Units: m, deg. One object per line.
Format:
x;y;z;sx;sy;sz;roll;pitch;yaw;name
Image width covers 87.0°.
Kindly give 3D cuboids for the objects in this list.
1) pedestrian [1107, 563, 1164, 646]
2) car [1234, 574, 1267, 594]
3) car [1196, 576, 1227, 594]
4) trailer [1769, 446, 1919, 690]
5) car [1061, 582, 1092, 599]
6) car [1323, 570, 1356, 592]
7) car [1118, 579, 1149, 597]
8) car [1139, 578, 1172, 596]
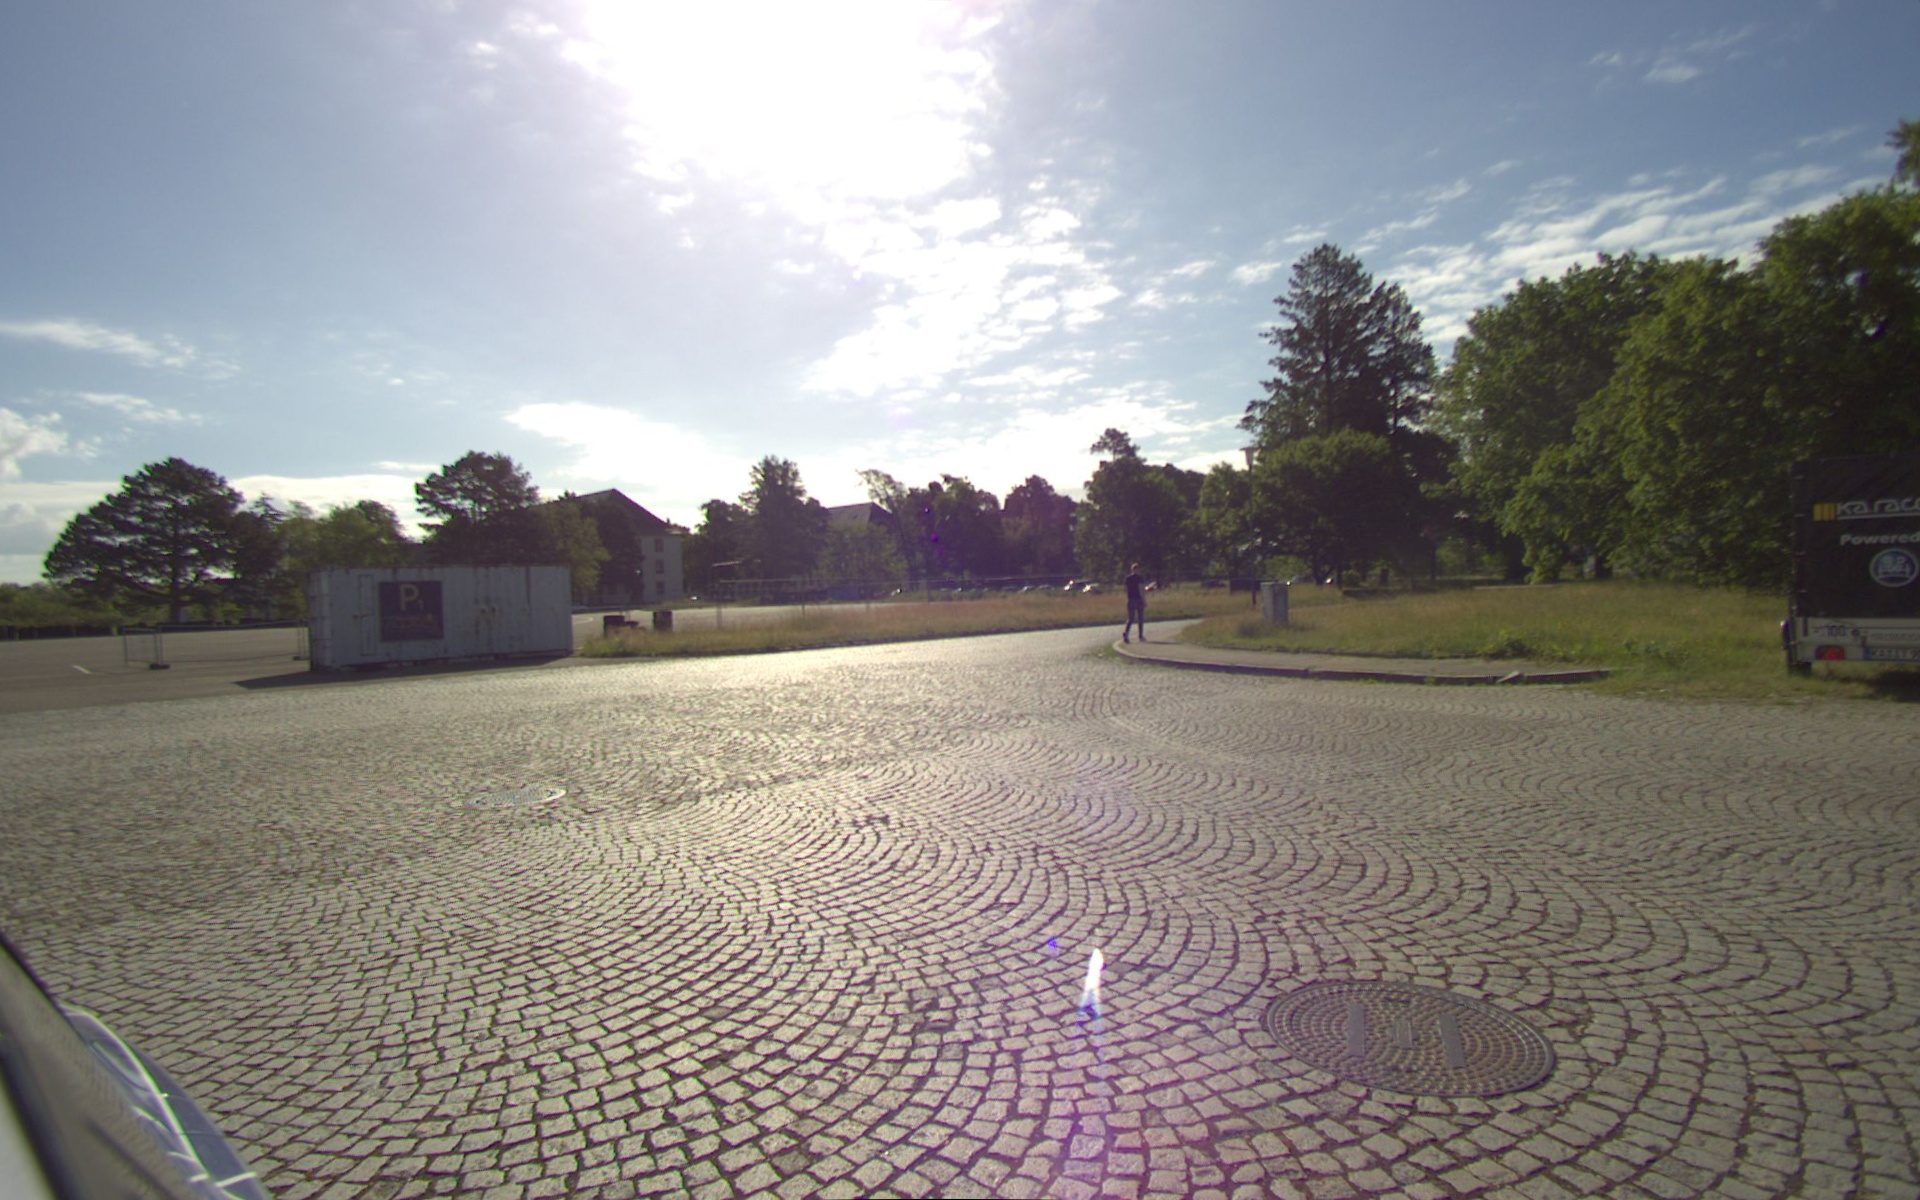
4.238;0.092;24.371;1.126;1.928;0.800;-2;1;-45;pedestrian
31.920;-1.739;111.098;1.999;2.029;3.945;-2;1;42;car
28.363;-1.721;114.107;1.997;1.829;3.950;-2;1;38;car
10.464;-0.412;11.122;2.015;2.289;4.405;-2;2;44;trailer
14.674;-1.179;127.330;2.000;2.029;3.945;-1;1;42;car
38.691;-1.951;103.141;1.997;2.029;3.950;-2;0;38;car
20.815;-1.434;121.306;1.996;2.029;3.952;-2;1;36;car
23.126;-1.524;119.443;2.000;2.029;3.944;-2;1;43;car
